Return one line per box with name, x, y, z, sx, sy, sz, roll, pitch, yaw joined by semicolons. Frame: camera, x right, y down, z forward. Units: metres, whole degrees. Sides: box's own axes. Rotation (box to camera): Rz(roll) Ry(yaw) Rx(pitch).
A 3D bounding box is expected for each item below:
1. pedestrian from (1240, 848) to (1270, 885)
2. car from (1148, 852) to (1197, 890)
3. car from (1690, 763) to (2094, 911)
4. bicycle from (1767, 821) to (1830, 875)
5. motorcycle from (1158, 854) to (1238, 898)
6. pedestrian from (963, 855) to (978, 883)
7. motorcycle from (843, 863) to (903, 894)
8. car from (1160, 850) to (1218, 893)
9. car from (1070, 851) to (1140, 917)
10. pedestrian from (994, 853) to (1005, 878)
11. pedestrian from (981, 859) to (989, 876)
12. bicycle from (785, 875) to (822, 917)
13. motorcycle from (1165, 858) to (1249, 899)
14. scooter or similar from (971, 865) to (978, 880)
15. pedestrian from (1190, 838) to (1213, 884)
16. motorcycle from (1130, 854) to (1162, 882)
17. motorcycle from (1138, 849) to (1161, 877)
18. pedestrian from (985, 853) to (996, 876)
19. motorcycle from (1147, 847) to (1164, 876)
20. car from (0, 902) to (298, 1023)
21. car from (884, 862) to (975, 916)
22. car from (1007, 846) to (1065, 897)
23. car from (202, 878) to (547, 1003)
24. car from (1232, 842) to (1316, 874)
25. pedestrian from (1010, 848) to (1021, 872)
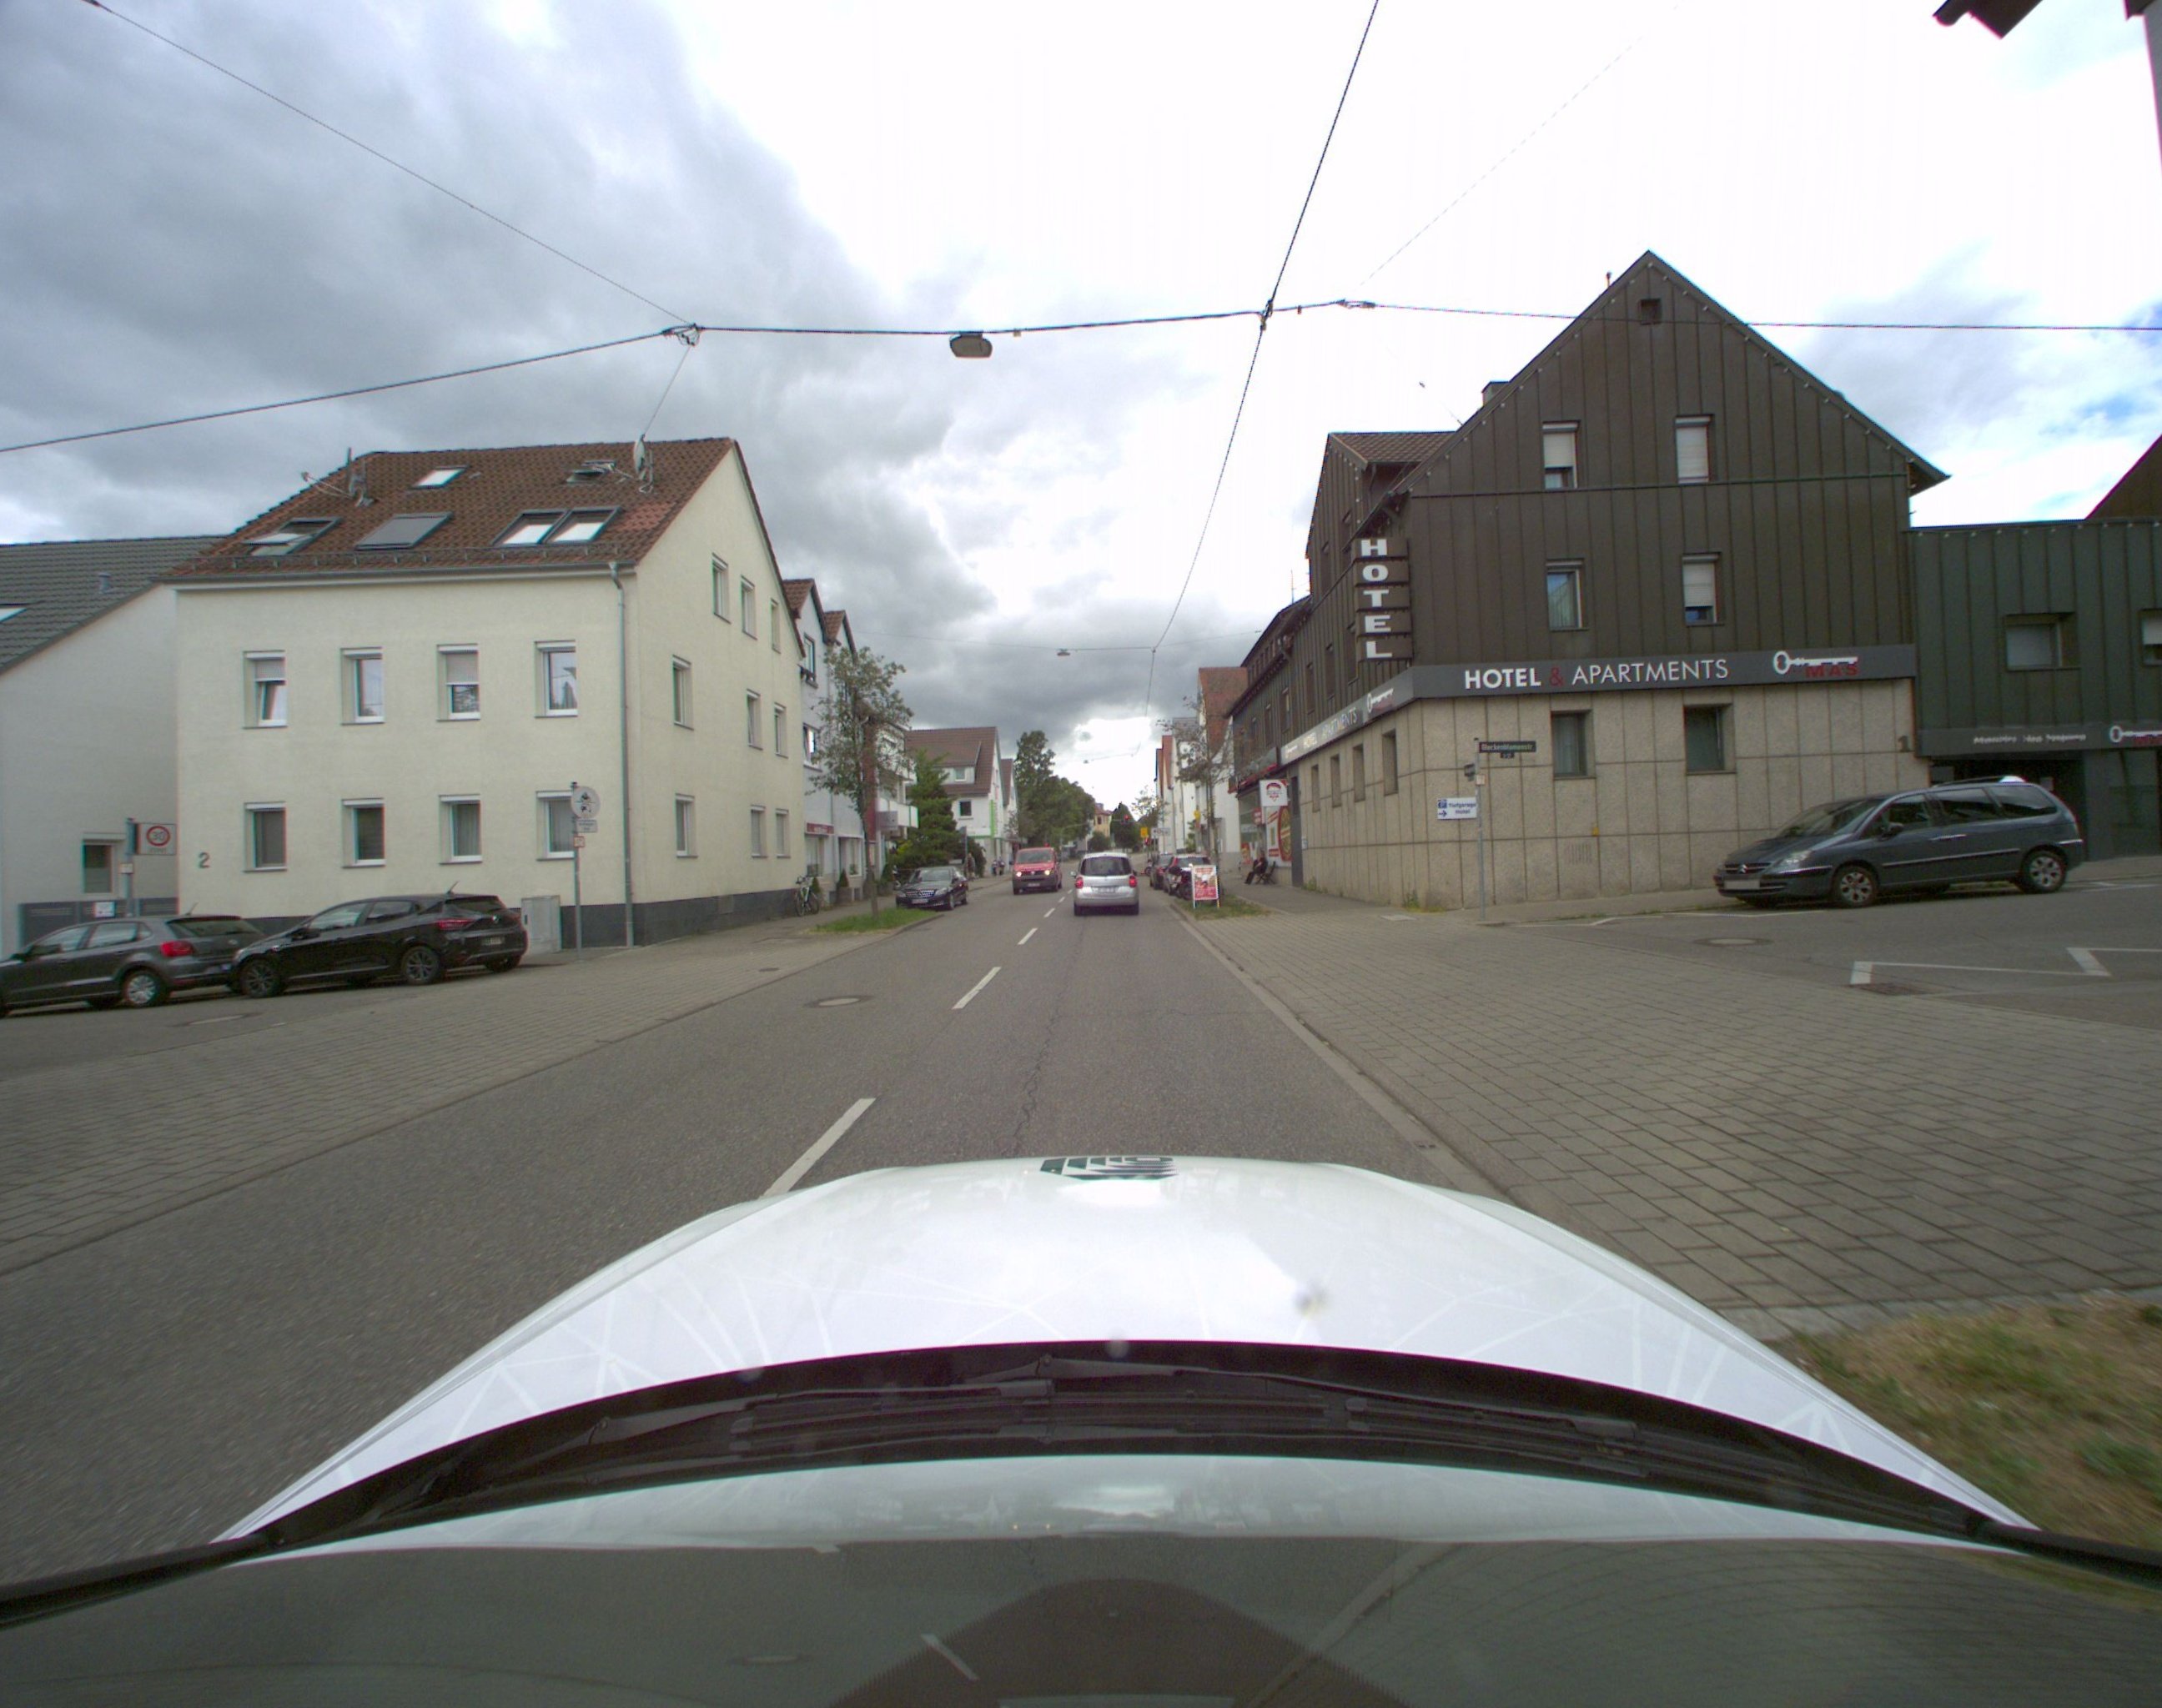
pedestrian;6.762;0.480;31.733;0.884;1.300;0.967;-6;-1;2
car;3.865;0.692;34.857;1.694;1.467;4.240;-1;0;1
car;12.712;-0.251;12.992;4.467;1.866;1.929;-4;0;-1
bicycle;13.734;-0.116;15.602;0.603;0.973;0.631;-4;0;2
motorcycle;3.878;0.697;26.892;2.723;1.336;0.693;-1;0;-29
pedestrian;-7.055;0.950;51.975;0.760;1.791;0.890;-1;0;1
motorcycle;-9.949;1.175;39.021;2.705;1.409;0.698;-1;0;-8
car;3.907;0.613;30.042;1.694;1.429;3.891;-1;0;1
car;0.679;0.738;21.903;1.676;1.566;3.996;-1;0;2
pedestrian;-6.207;0.844;62.090;0.759;1.876;0.696;-1;-1;1
pedestrian;-7.175;0.995;60.724;0.490;1.278;0.588;-1;0;1
bicycle;-8.098;1.209;23.849;0.513;1.153;1.665;-1;0;-1
motorcycle;4.022;0.766;25.842;2.744;1.183;0.693;-1;0;-29
scooter or similar;-7.387;1.298;56.375;0.372;1.034;0.560;-3;0;1
pedestrian;5.165;0.293;34.992;0.853;1.928;0.900;-1;0;2
motorcycle;3.536;0.737;44.035;0.691;1.409;2.732;-2;0;26
motorcycle;4.172;0.567;49.893;0.698;1.639;2.399;-1;0;-12
pedestrian;-6.923;0.826;62.453;0.713;1.756;0.696;-1;-1;1
motorcycle;4.352;0.438;47.214;0.693;1.639;2.417;-1;0;11
car;-15.541;1.744;13.304;3.692;1.486;1.669;-5;0;-2
car;-4.948;1.092;27.279;1.941;1.467;4.518;-5;0;2
car;-1.886;0.729;35.971;1.941;1.961;5.225;-4;0;2
car;-11.308;1.342;13.238;3.974;1.534;1.735;-5;0;0
car;9.919;0.216;42.087;3.965;1.566;1.689;-1;0;2
pedestrian;-5.064;0.472;63.015;0.713;1.876;0.696;-1;-1;1
